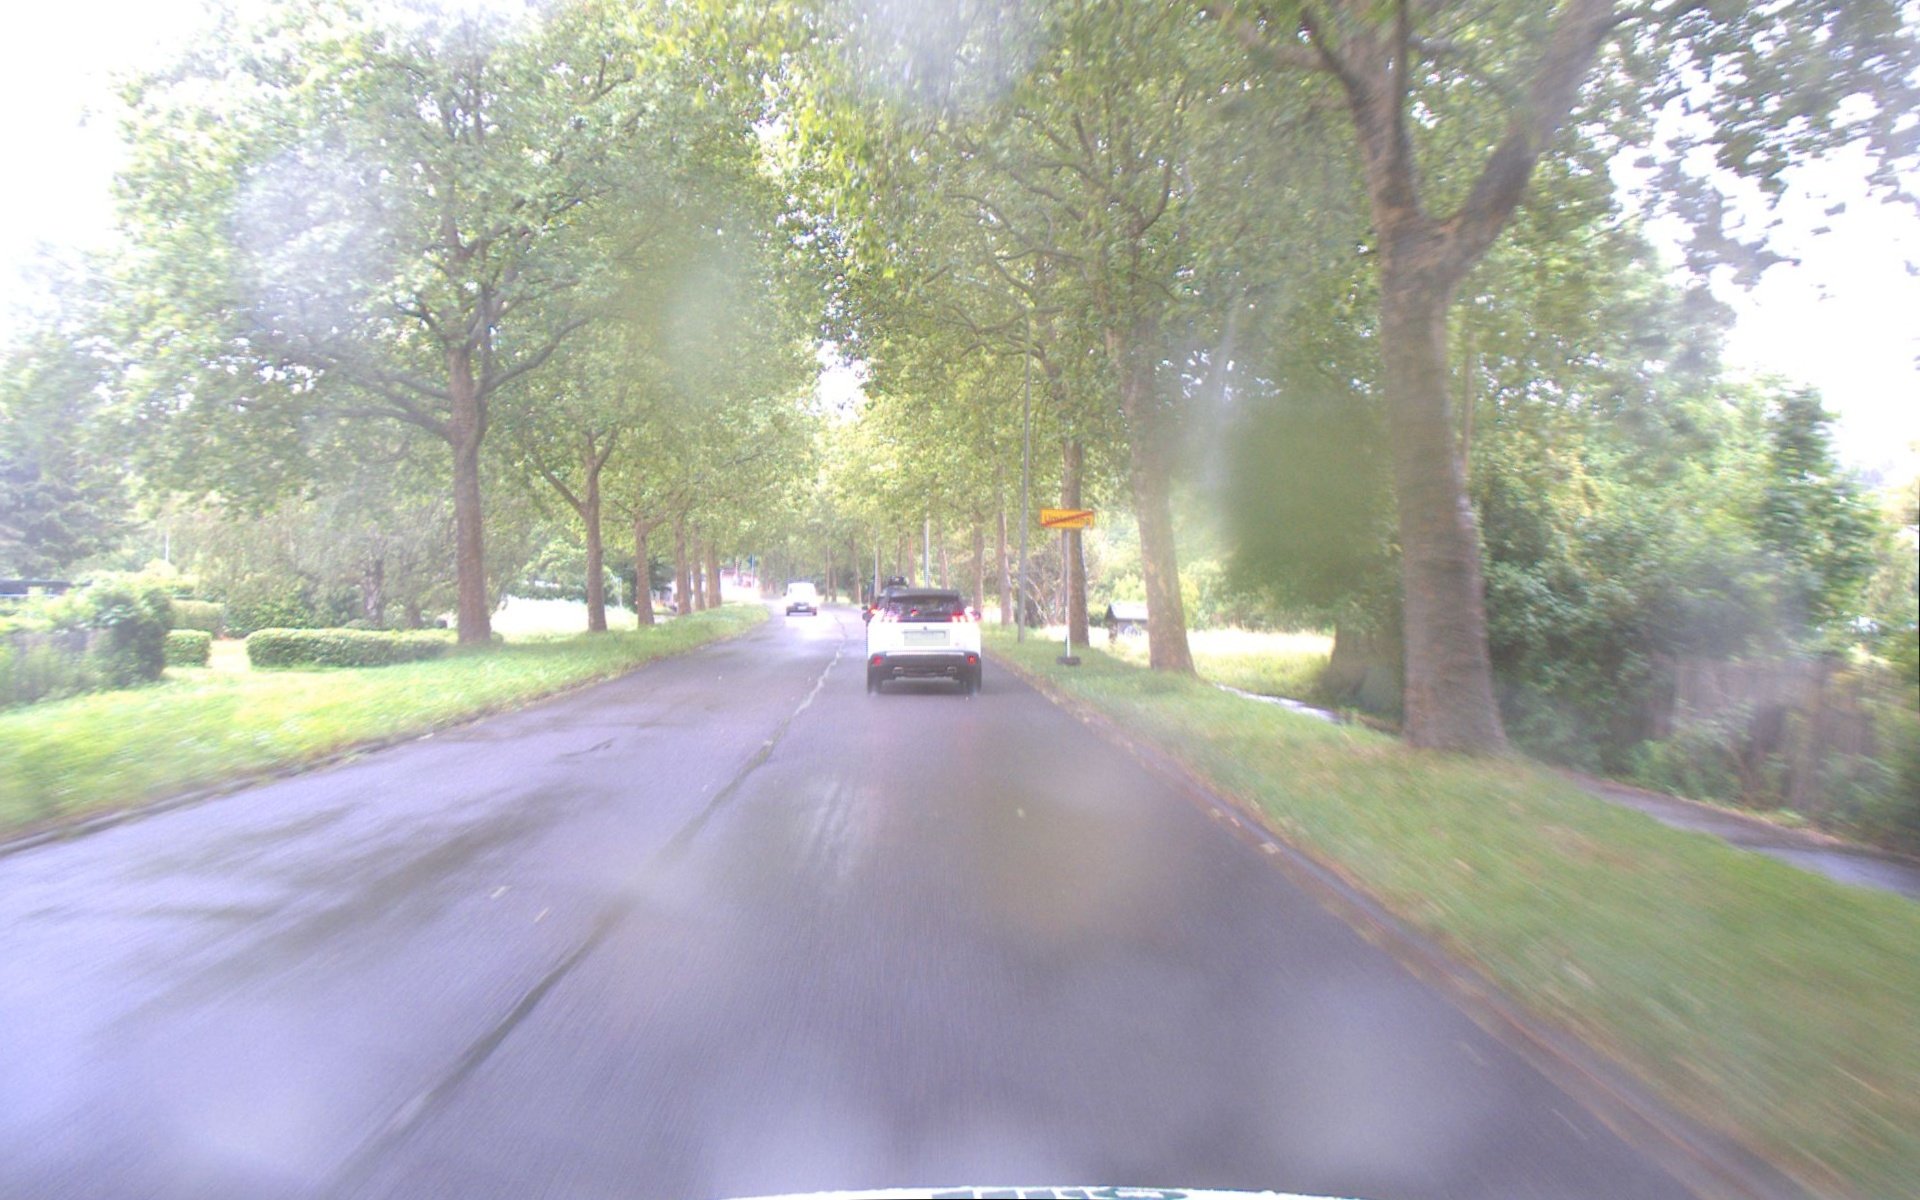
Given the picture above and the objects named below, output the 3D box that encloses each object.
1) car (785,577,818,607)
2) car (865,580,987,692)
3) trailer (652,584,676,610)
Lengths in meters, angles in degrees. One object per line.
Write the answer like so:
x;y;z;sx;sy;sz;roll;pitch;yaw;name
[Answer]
-9.557;-0.479;100.148;1.826;1.780;5.011;1;0;-4;car
-0.508;0.503;26.011;1.757;1.606;3.844;1;1;0;car
-31.452;-0.346;175.777;2.439;2.612;5.321;1;0;-9;trailer
